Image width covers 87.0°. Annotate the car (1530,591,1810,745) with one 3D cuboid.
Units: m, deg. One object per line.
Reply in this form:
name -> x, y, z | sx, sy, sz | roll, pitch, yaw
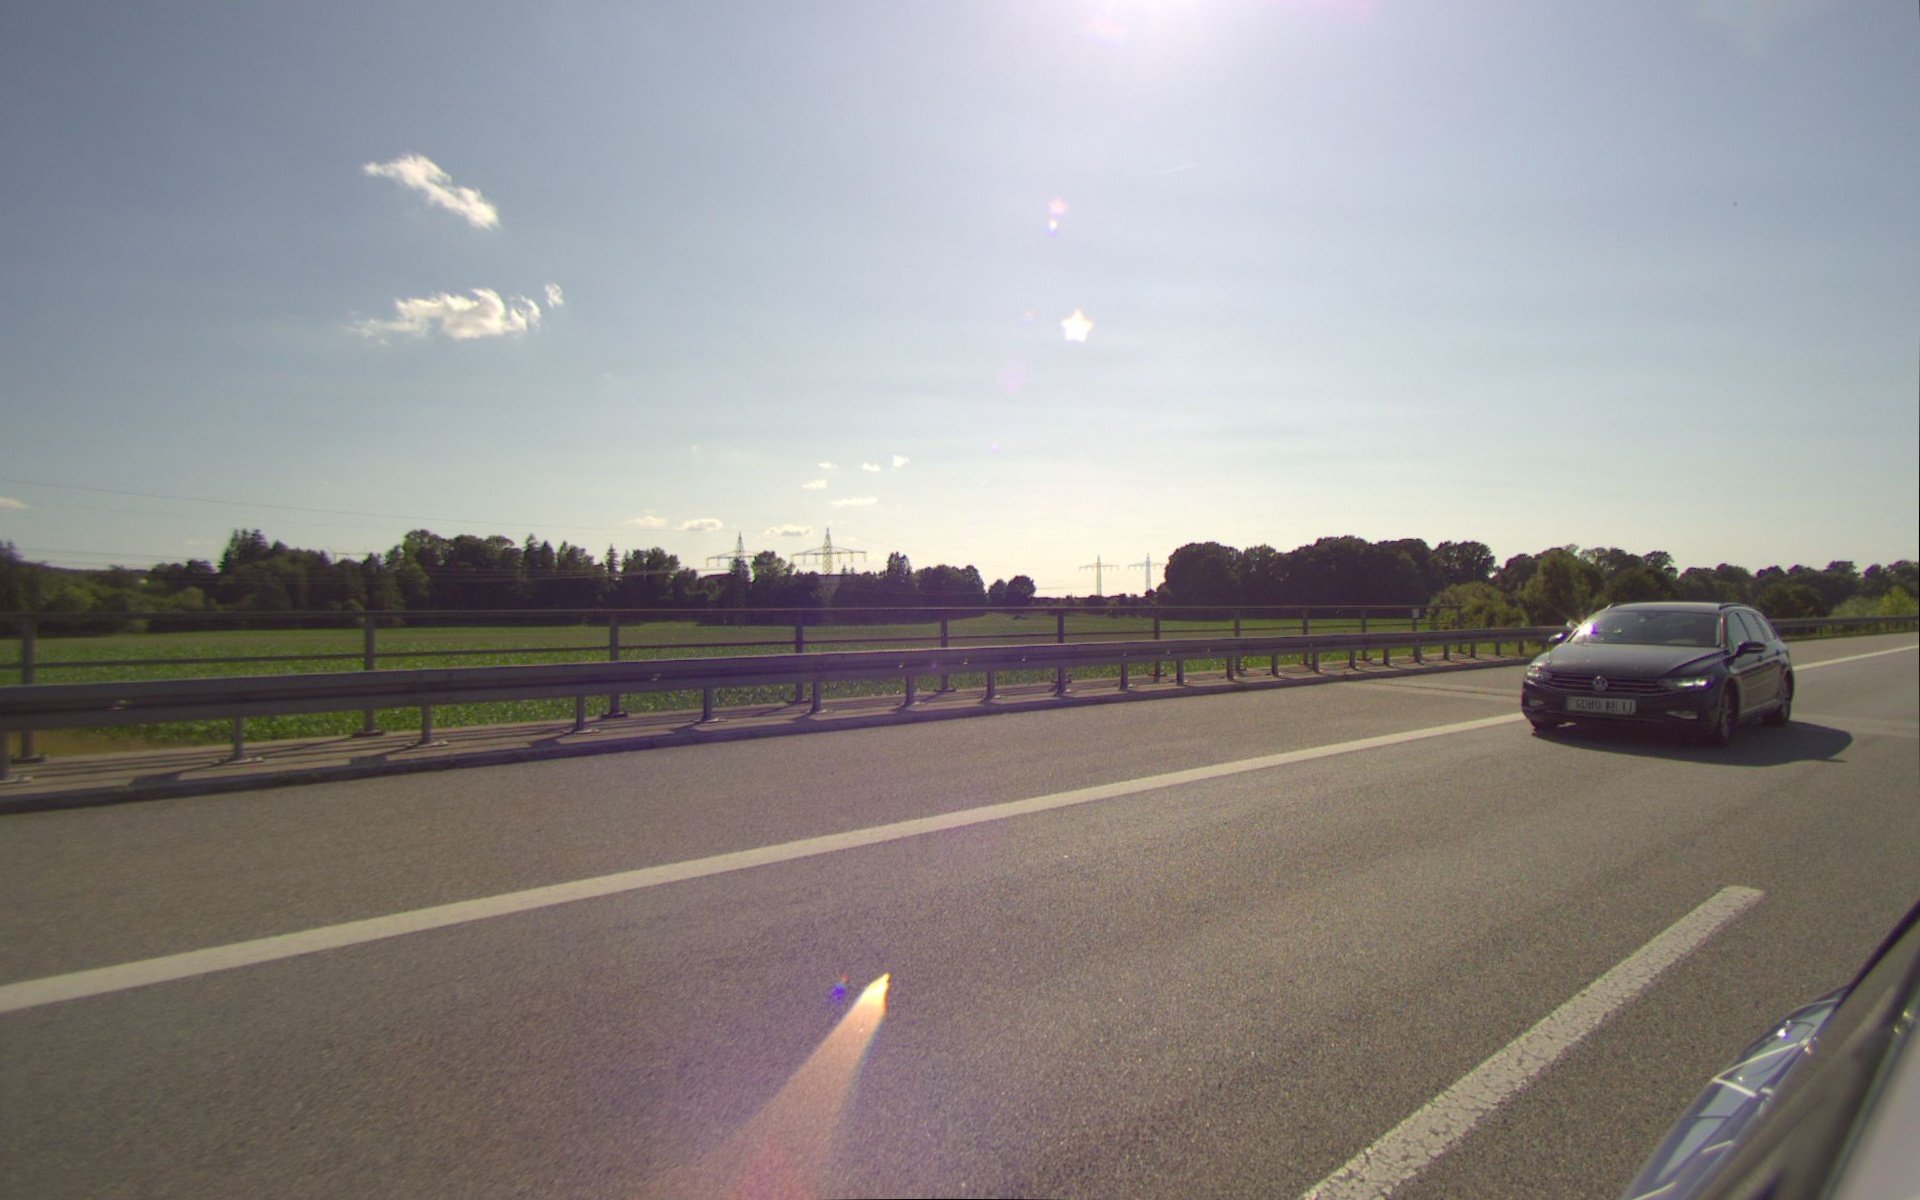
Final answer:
car -> 8.275, 0.624, 11.637 | 4.338, 1.417, 1.721 | -1, 1, -42
